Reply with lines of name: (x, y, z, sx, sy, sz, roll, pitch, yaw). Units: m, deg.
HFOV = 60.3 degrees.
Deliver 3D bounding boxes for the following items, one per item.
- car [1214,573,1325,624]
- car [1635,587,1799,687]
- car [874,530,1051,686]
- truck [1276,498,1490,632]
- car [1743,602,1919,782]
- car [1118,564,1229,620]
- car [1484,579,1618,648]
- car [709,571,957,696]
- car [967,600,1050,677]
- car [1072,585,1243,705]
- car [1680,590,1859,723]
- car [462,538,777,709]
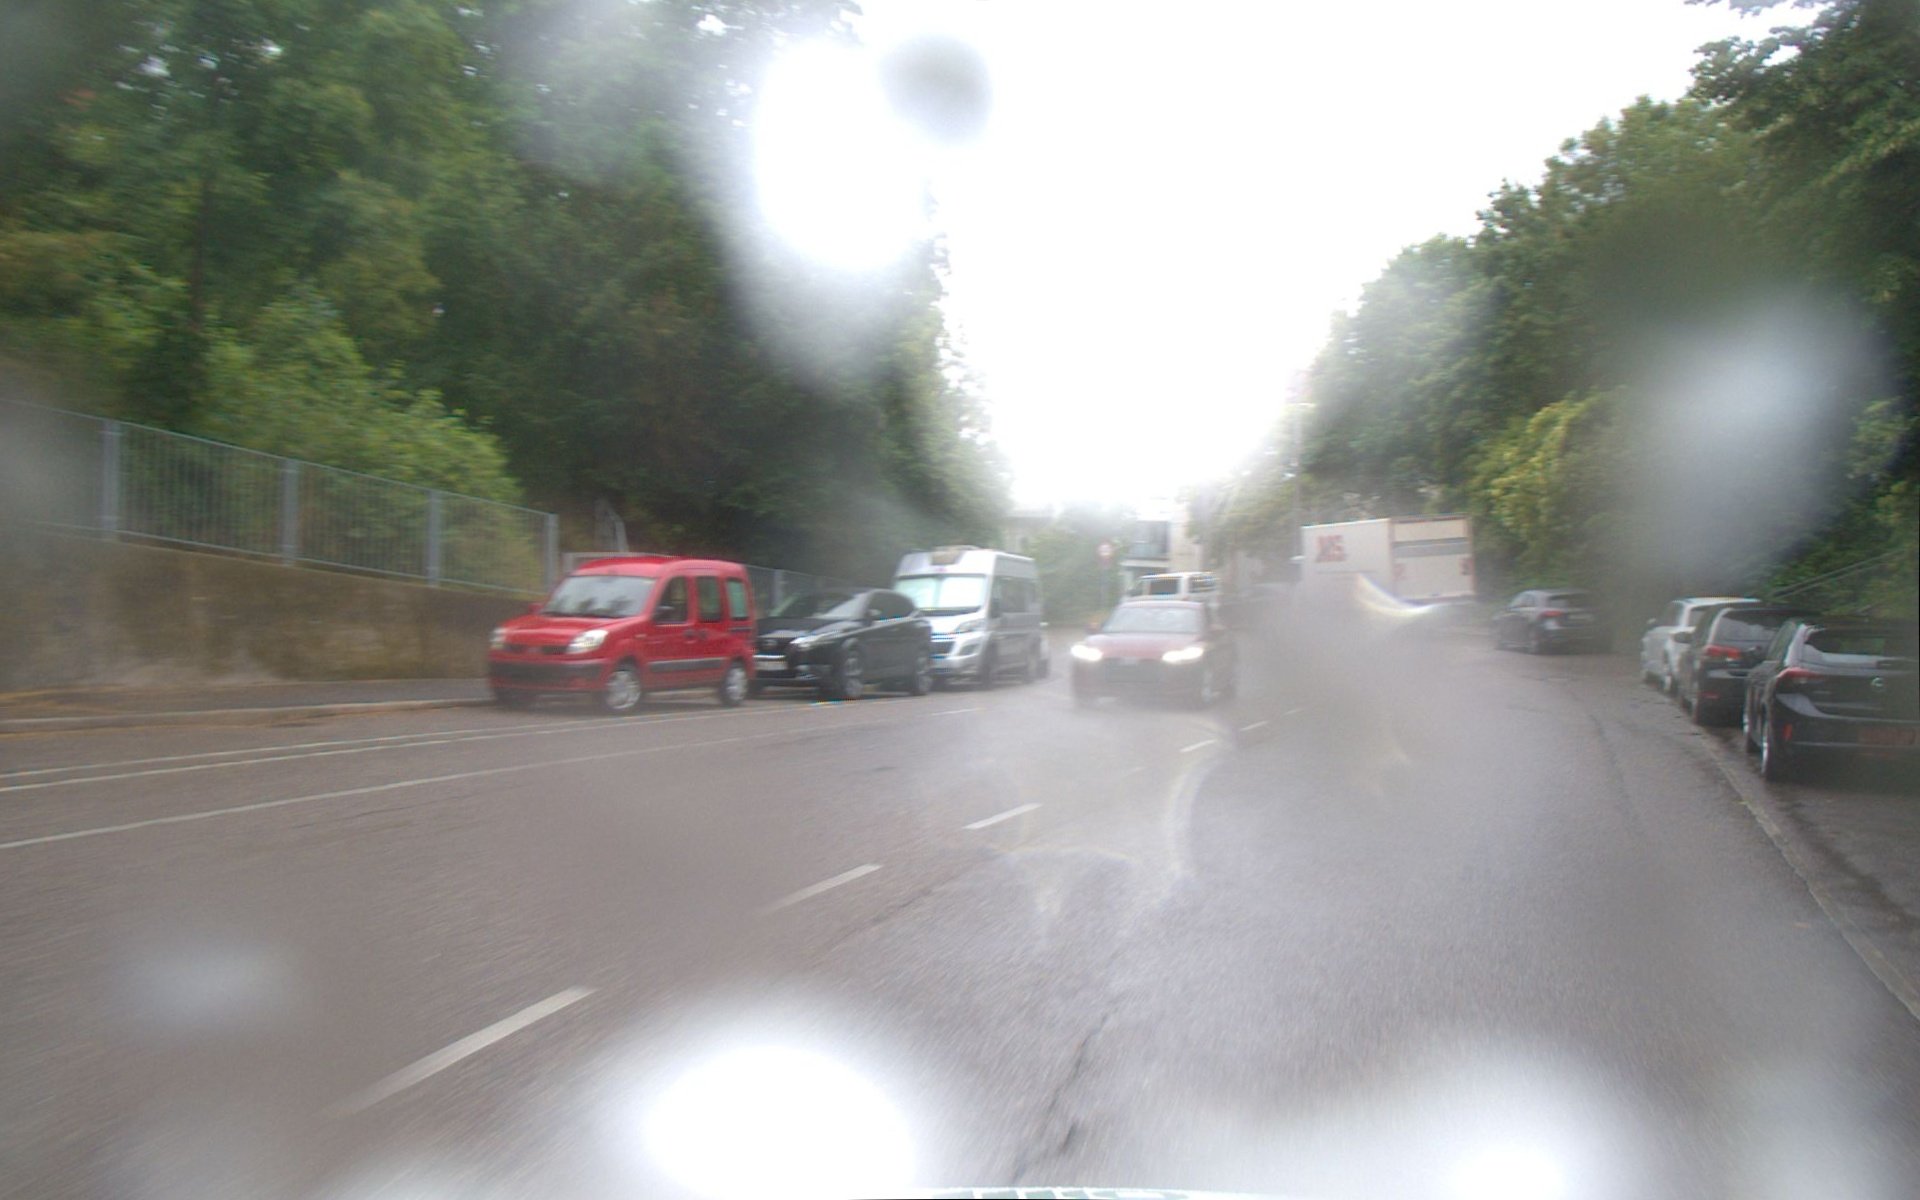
car: (10.701, -0.042, 57.523, 1.695, 1.582, 4.246, -4, 1, -23)
car: (12.035, 0.530, 26.535, 1.718, 1.425, 4.099, 0, 1, 15)
car: (0.203, 0.142, 30.848, 2.029, 2.594, 6.352, -1, 0, 12)
truck: (12.647, -0.998, 50.406, 2.954, 3.636, 8.314, -3, 0, -11)
car: (8.436, 0.780, 15.674, 1.558, 1.413, 3.821, 3, 2, 22)
car: (8.096, -0.299, 63.241, 1.856, 2.049, 4.647, -1, 0, -28)
car: (13.744, 0.278, 38.686, 1.685, 1.469, 4.125, -2, 1, 1)
car: (-1.757, 0.468, 24.520, 1.952, 1.648, 4.397, 1, 0, 21)
car: (1.094, 0.886, 38.107, 1.766, 1.610, 4.025, -2, -1, 1)
car: (2.927, 0.584, 23.690, 1.827, 1.543, 4.487, -1, 0, 15)
car: (10.285, 0.641, 21.247, 1.626, 1.449, 3.970, 1, 2, 20)
car: (-3.880, 0.289, 19.615, 1.714, 1.799, 4.137, 1, -1, 20)
